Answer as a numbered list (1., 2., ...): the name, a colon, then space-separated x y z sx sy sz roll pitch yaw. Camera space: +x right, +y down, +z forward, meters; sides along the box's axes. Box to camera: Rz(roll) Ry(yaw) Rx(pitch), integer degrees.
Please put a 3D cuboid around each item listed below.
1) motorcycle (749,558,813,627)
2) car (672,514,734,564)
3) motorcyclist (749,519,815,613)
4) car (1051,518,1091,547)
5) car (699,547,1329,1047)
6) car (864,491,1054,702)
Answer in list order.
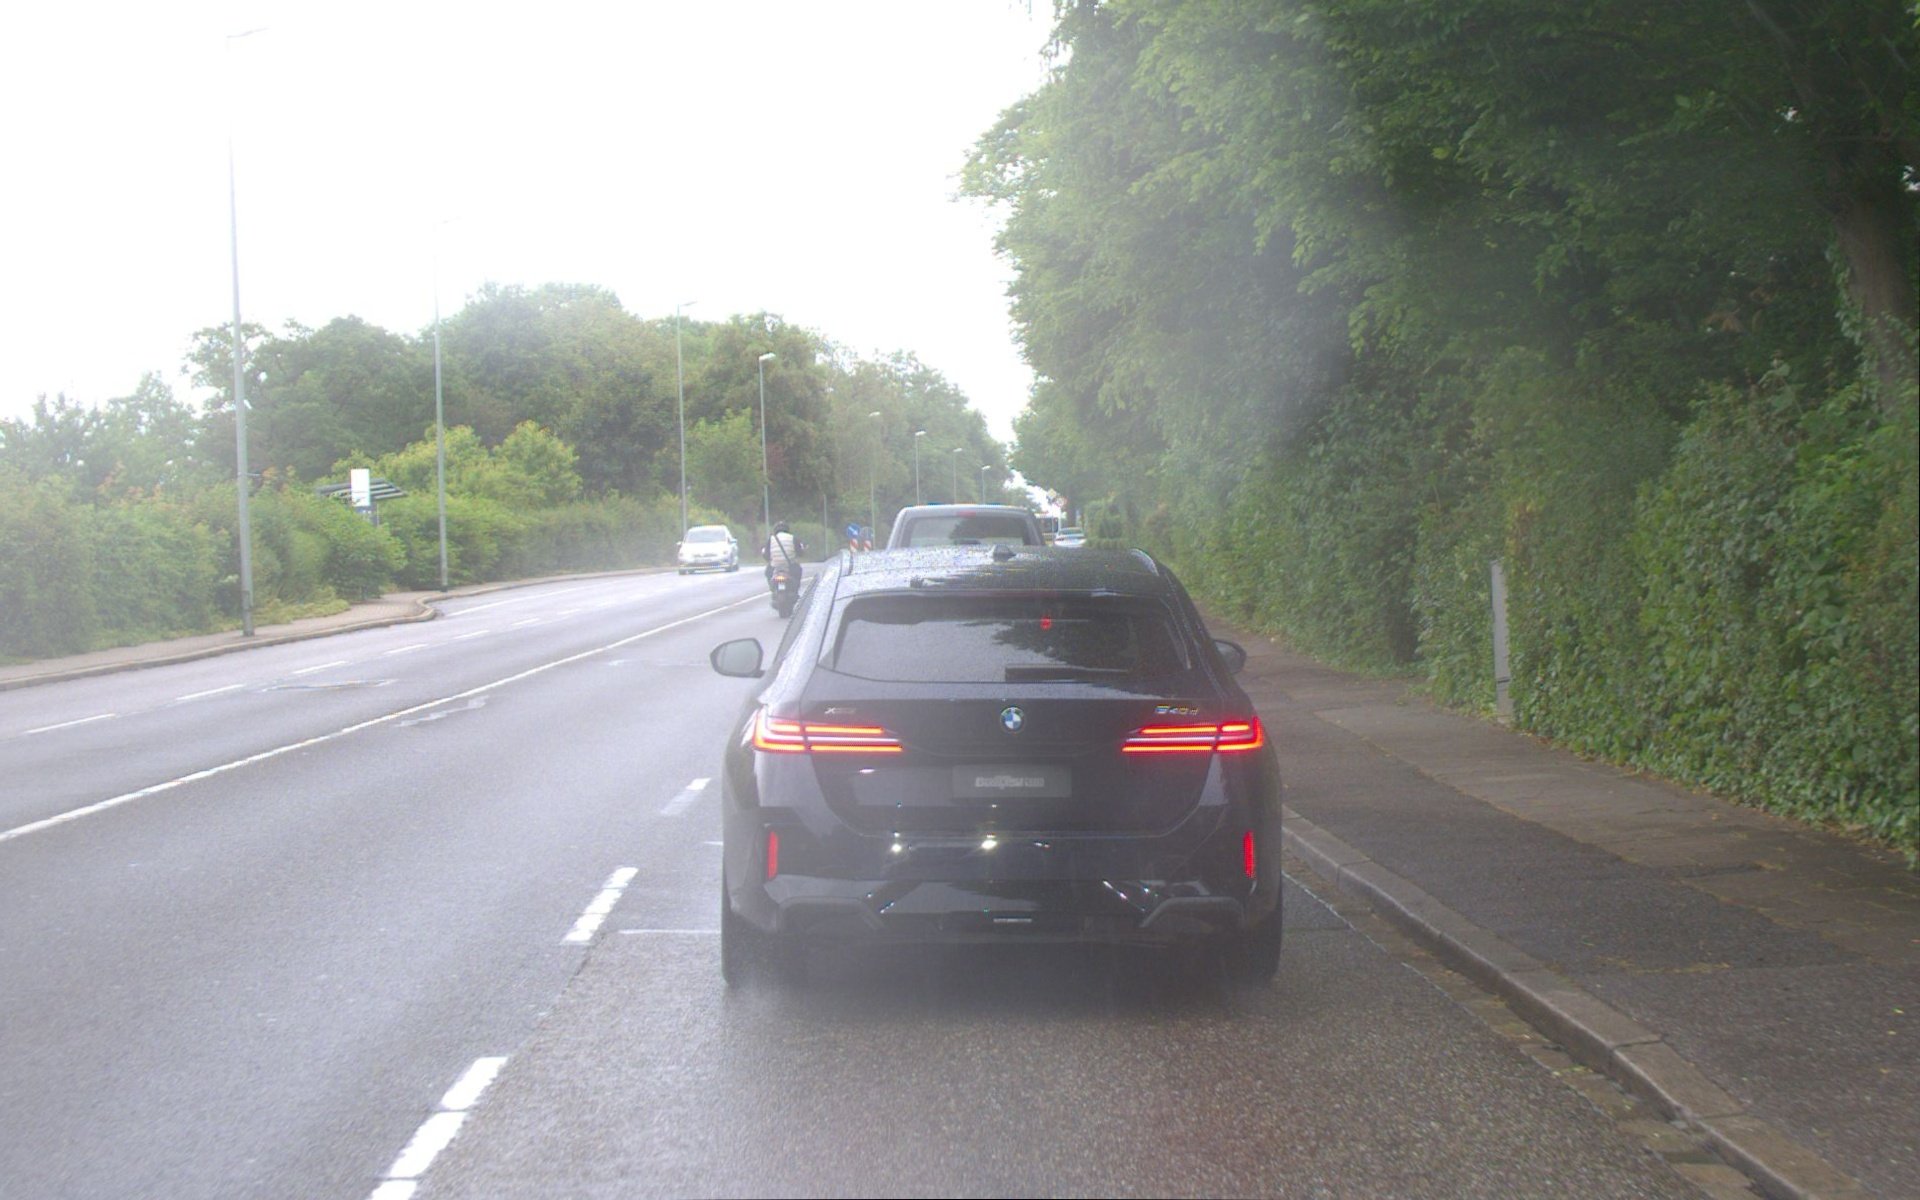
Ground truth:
1. motorcycle: -3.011 -0.135 58.126 0.876 1.120 2.741 1 1 1
2. car: -8.606 -2.061 115.260 1.756 1.563 4.000 -3 1 -1
3. motorcyclist: -3.007 -0.569 58.069 1.039 1.562 0.855 1 0 1
4. car: 5.796 -3.516 179.642 1.935 1.437 4.407 -1 1 4
5. car: 0.230 0.567 12.468 1.897 1.484 4.000 1 1 2
6. car: 0.024 -0.081 32.707 1.629 1.827 4.000 -2 1 1
